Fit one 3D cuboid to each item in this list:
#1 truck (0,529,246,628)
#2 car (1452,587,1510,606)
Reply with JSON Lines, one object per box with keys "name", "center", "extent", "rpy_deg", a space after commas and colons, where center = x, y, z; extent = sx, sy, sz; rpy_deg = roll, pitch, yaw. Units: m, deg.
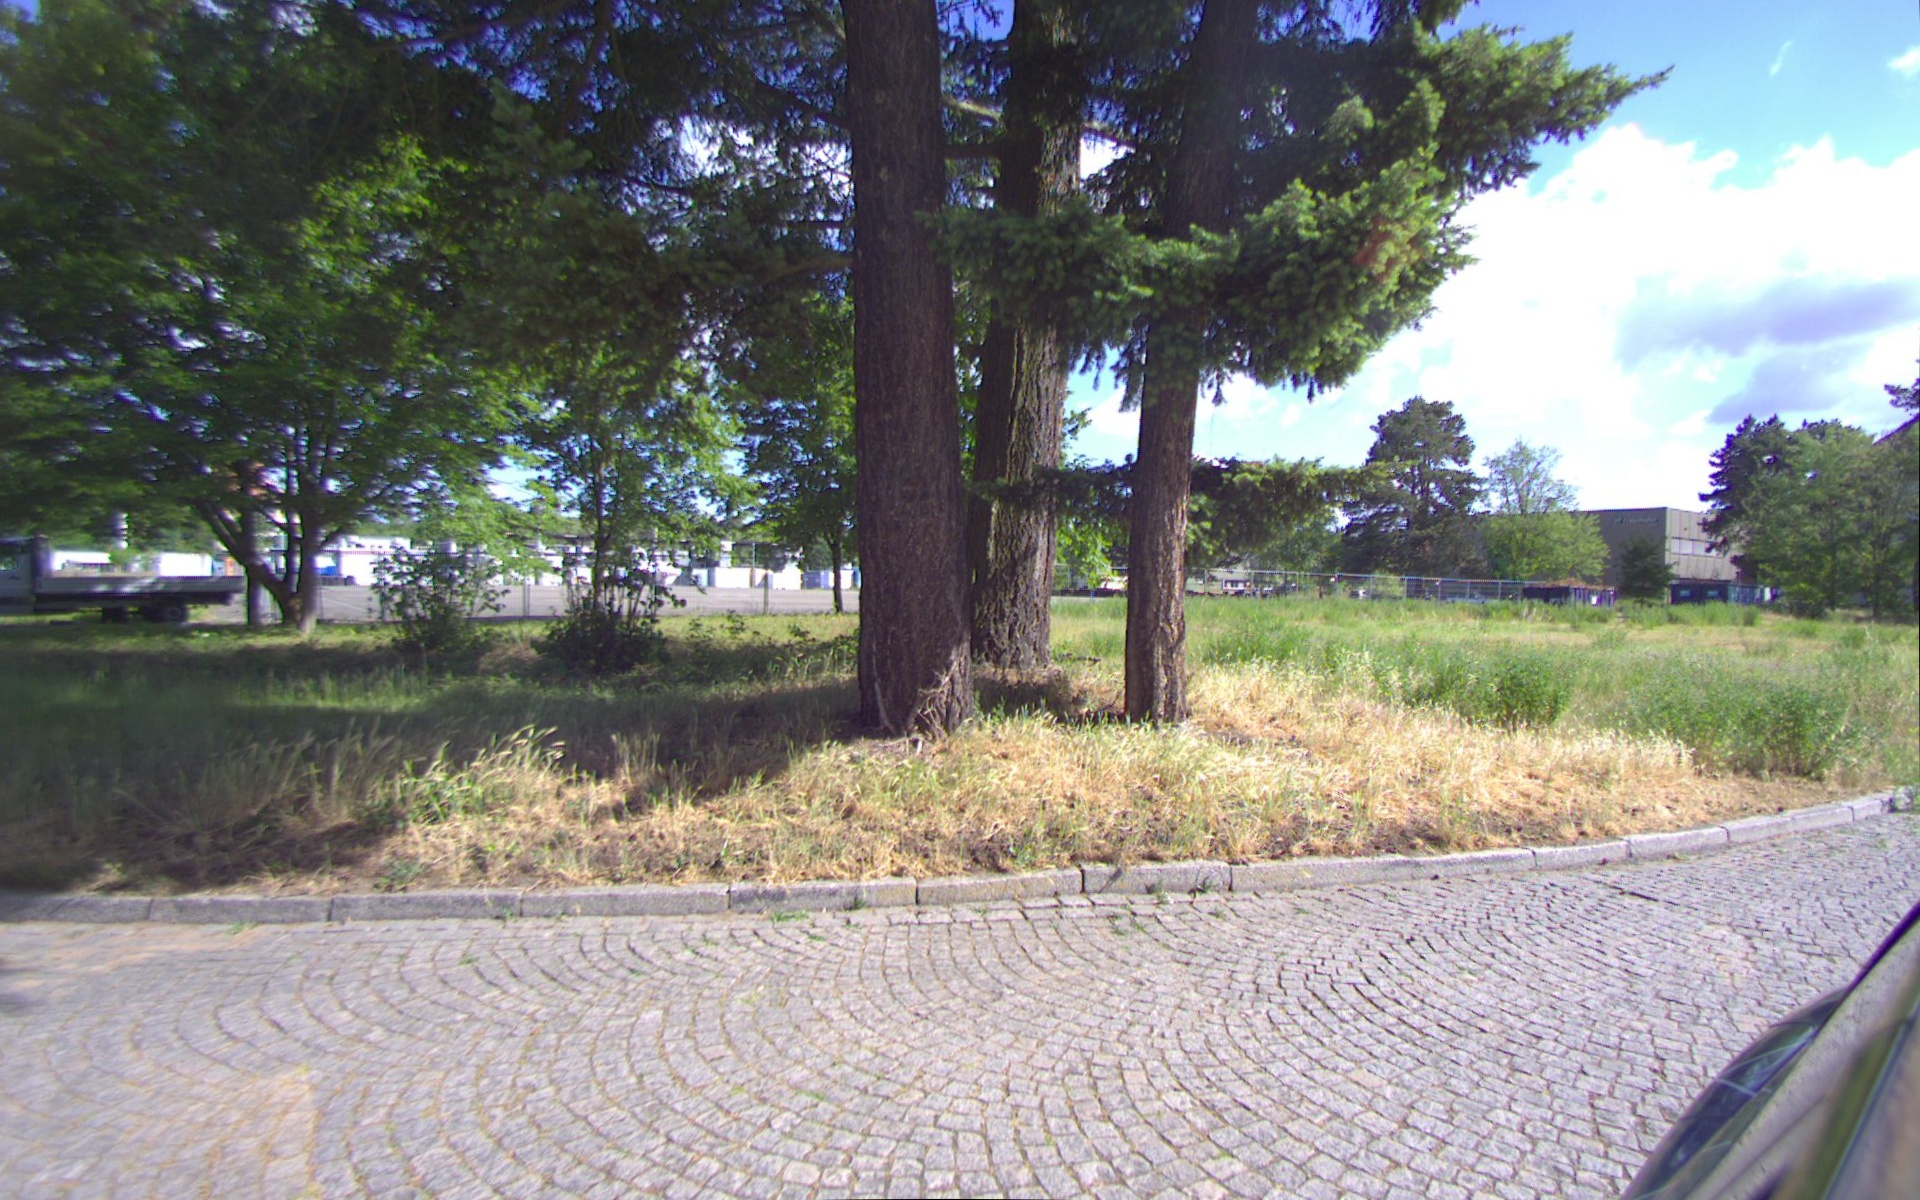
{"name": "truck", "center": [-23.177, -0.542, 26.909], "extent": [6.760, 2.454, 2.238], "rpy_deg": [0, 0, -38]}
{"name": "car", "center": [44.123, -0.299, 85.824], "extent": [1.713, 1.440, 3.999], "rpy_deg": [2, 0, -37]}
